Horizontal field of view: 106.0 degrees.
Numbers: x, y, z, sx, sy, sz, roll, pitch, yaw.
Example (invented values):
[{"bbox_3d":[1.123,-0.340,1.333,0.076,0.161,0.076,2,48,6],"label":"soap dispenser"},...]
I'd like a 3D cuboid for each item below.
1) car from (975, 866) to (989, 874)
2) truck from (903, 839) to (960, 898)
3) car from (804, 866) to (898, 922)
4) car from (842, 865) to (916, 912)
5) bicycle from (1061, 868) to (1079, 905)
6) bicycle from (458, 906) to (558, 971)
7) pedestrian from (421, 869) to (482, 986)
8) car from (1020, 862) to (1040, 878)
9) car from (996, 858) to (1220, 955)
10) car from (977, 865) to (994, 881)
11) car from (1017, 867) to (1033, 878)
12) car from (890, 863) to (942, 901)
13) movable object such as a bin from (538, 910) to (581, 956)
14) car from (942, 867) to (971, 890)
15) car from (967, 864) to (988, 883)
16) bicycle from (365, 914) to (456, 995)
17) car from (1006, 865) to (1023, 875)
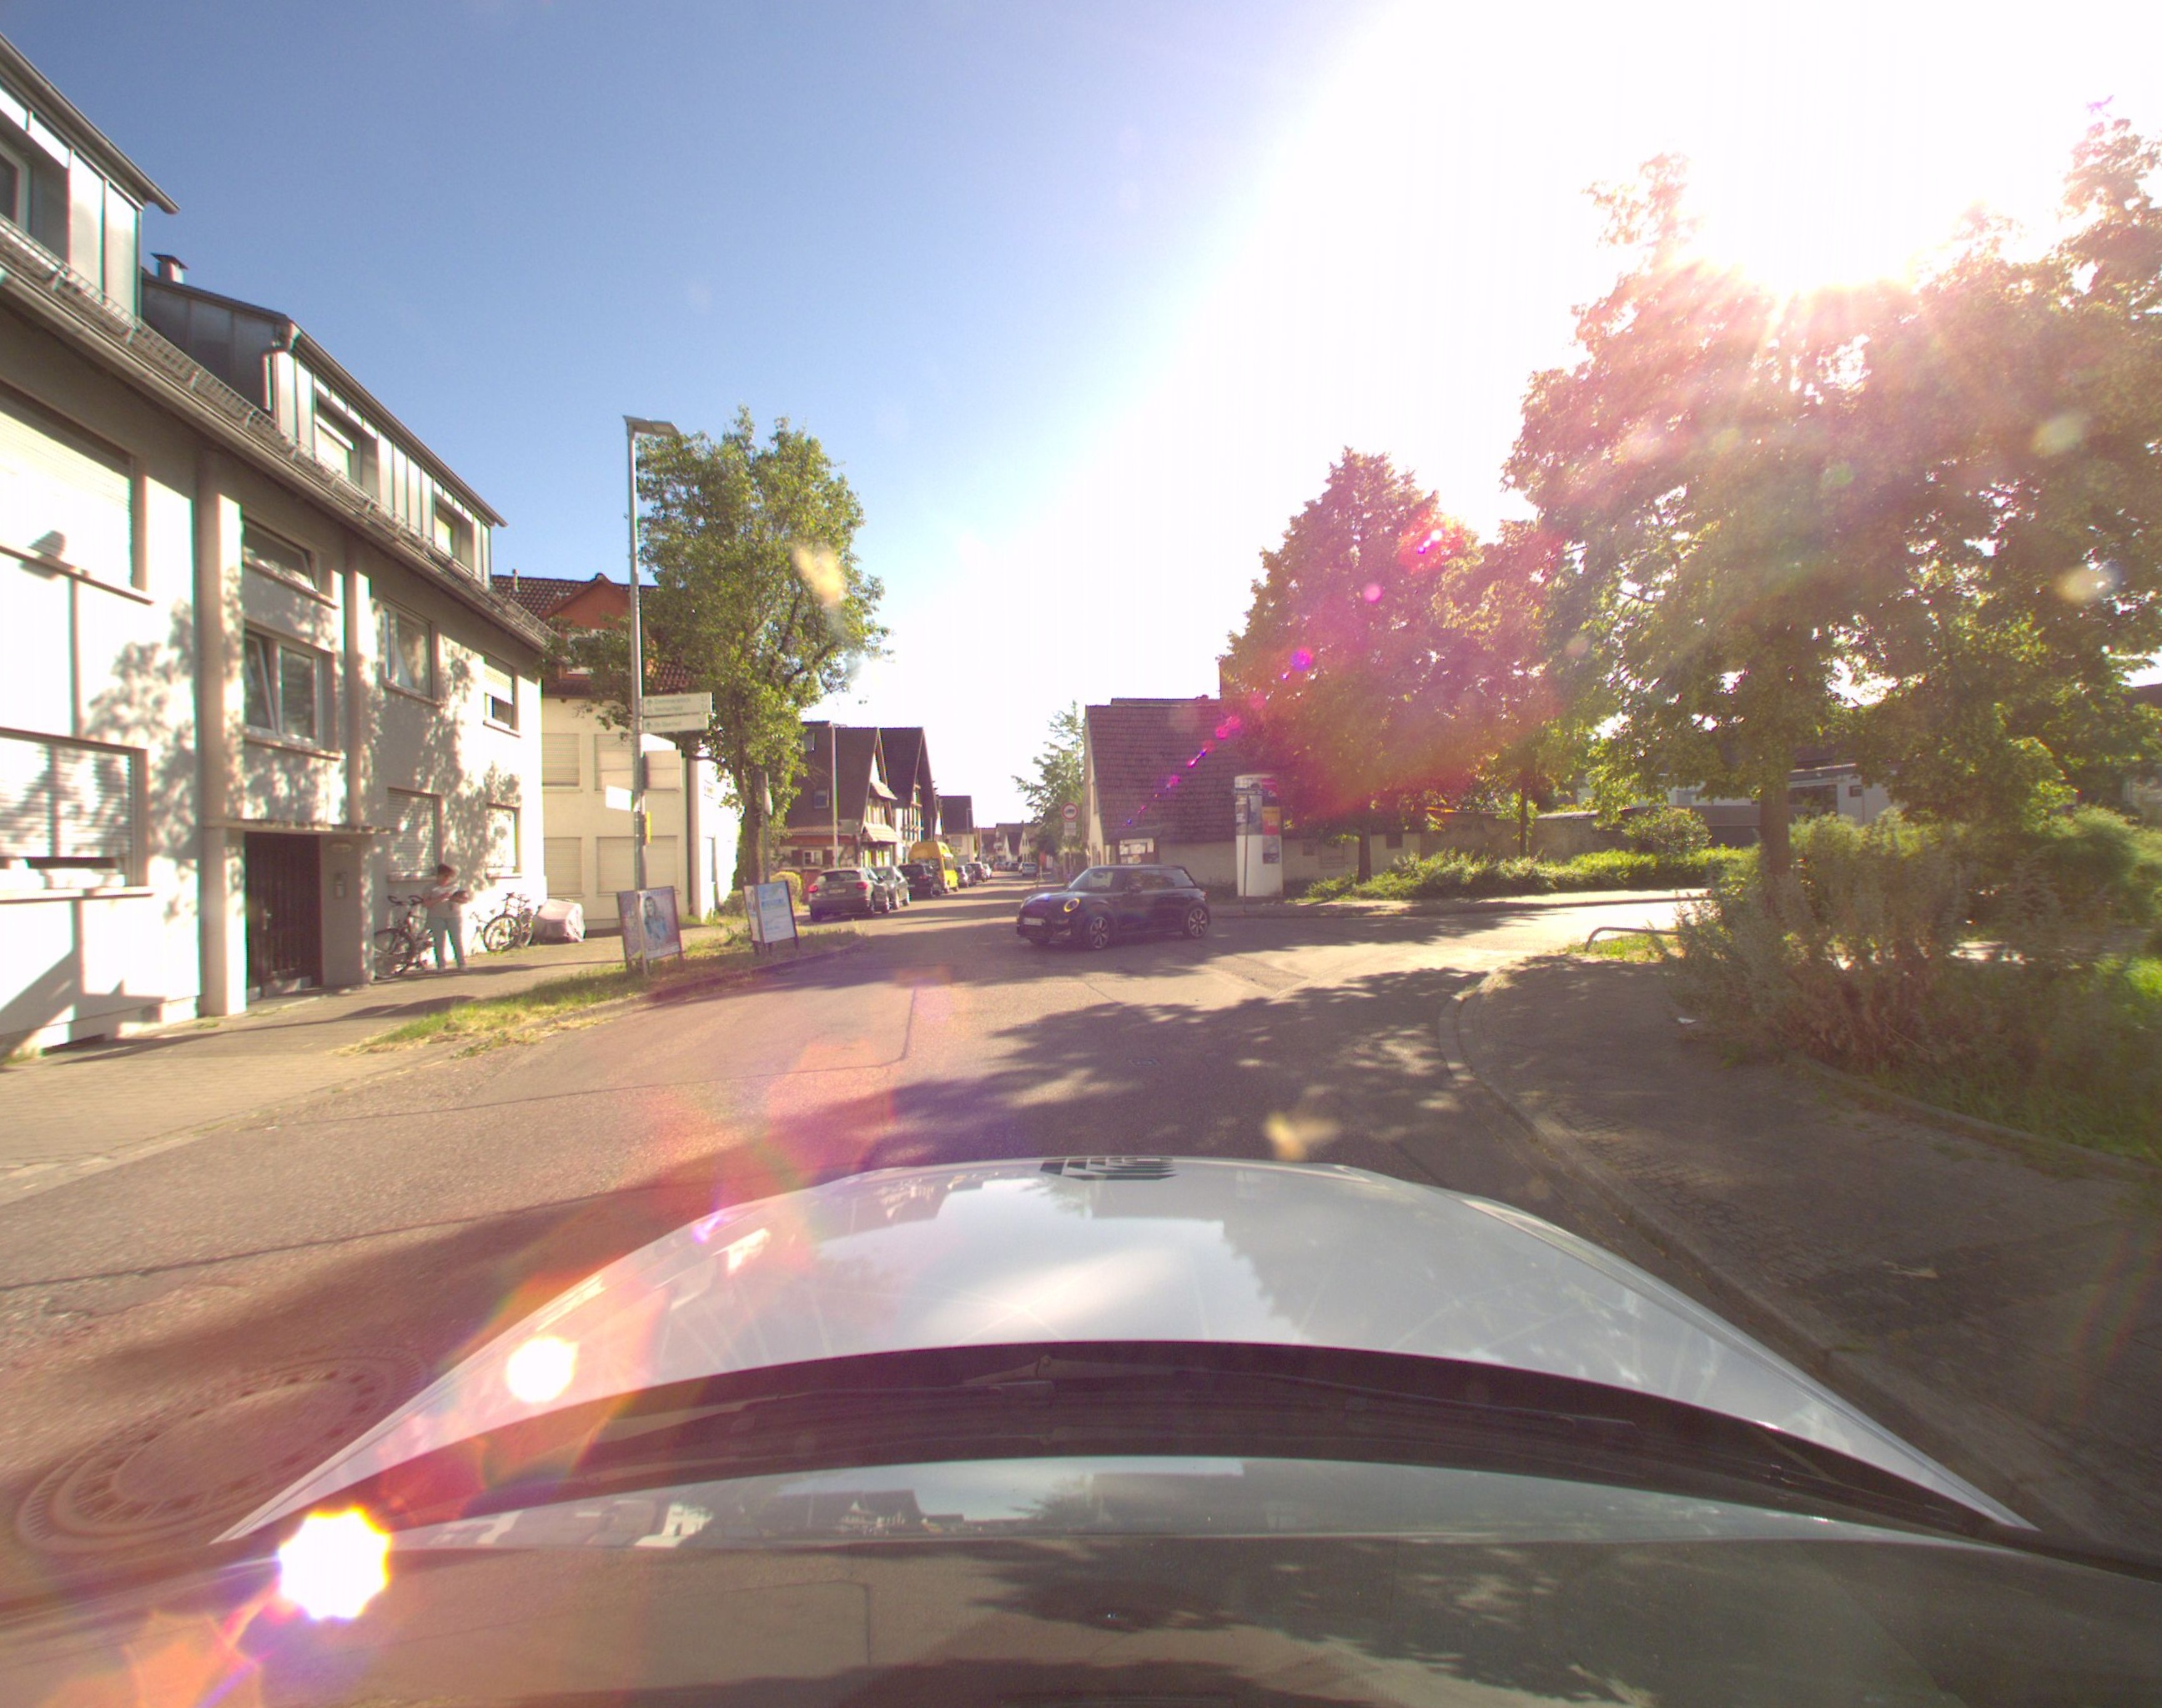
[{"bbox_3d":[-19.154,3.142,157.902,1.978,1.583,3.970,-1,-1,-18],"label":"car"},{"bbox_3d":[-7.916,0.788,43.677,2.263,2.868,5.774,-2,-1,-3],"label":"truck"},{"bbox_3d":[-6.882,1.147,24.816,1.863,1.506,4.102,-2,-1,-3],"label":"car"},{"bbox_3d":[-7.149,1.189,29.195,1.803,1.506,4.102,-2,-1,-3],"label":"car"},{"bbox_3d":[-0.354,1.079,27.376,0.431,1.176,1.831,-2,-1,4],"label":"bicycle"},{"bbox_3d":[-10.643,1.532,15.221,0.577,1.052,2.032,-2,-2,-5],"label":"bicycle"},{"bbox_3d":[-9.410,1.082,12.188,0.483,1.693,0.555,-1,-3,-9],"label":"pedestrian"},{"bbox_3d":[-5.689,1.804,90.785,1.971,1.714,3.985,-1,-1,-6],"label":"car"},{"bbox_3d":[0.586,0.855,14.868,4.021,1.477,1.646,-1,0,-41],"label":"car"},{"bbox_3d":[-9.123,1.823,77.872,1.586,1.443,3.606,-1,-1,-6],"label":"car"},{"bbox_3d":[-8.317,2.688,120.811,1.974,1.583,3.980,-1,-1,-11],"label":"car"},{"bbox_3d":[-7.673,1.287,38.102,1.803,1.622,3.875,-2,-1,-3],"label":"car"},{"bbox_3d":[-11.294,1.700,17.645,0.627,0.945,0.657,-1,-2,-17],"label":"movable object such as a bin"},{"bbox_3d":[-8.023,1.554,52.702,1.643,1.433,3.606,-1,-1,-6],"label":"car"},{"bbox_3d":[-8.348,1.536,65.817,1.586,1.443,3.606,-1,-1,-6],"label":"car"},{"bbox_3d":[-9.787,1.438,11.929,0.423,1.052,1.375,-2,-2,-12],"label":"bicycle"},{"bbox_3d":[-10.883,2.641,133.105,1.978,1.583,3.970,-1,-1,-18],"label":"car"}]
